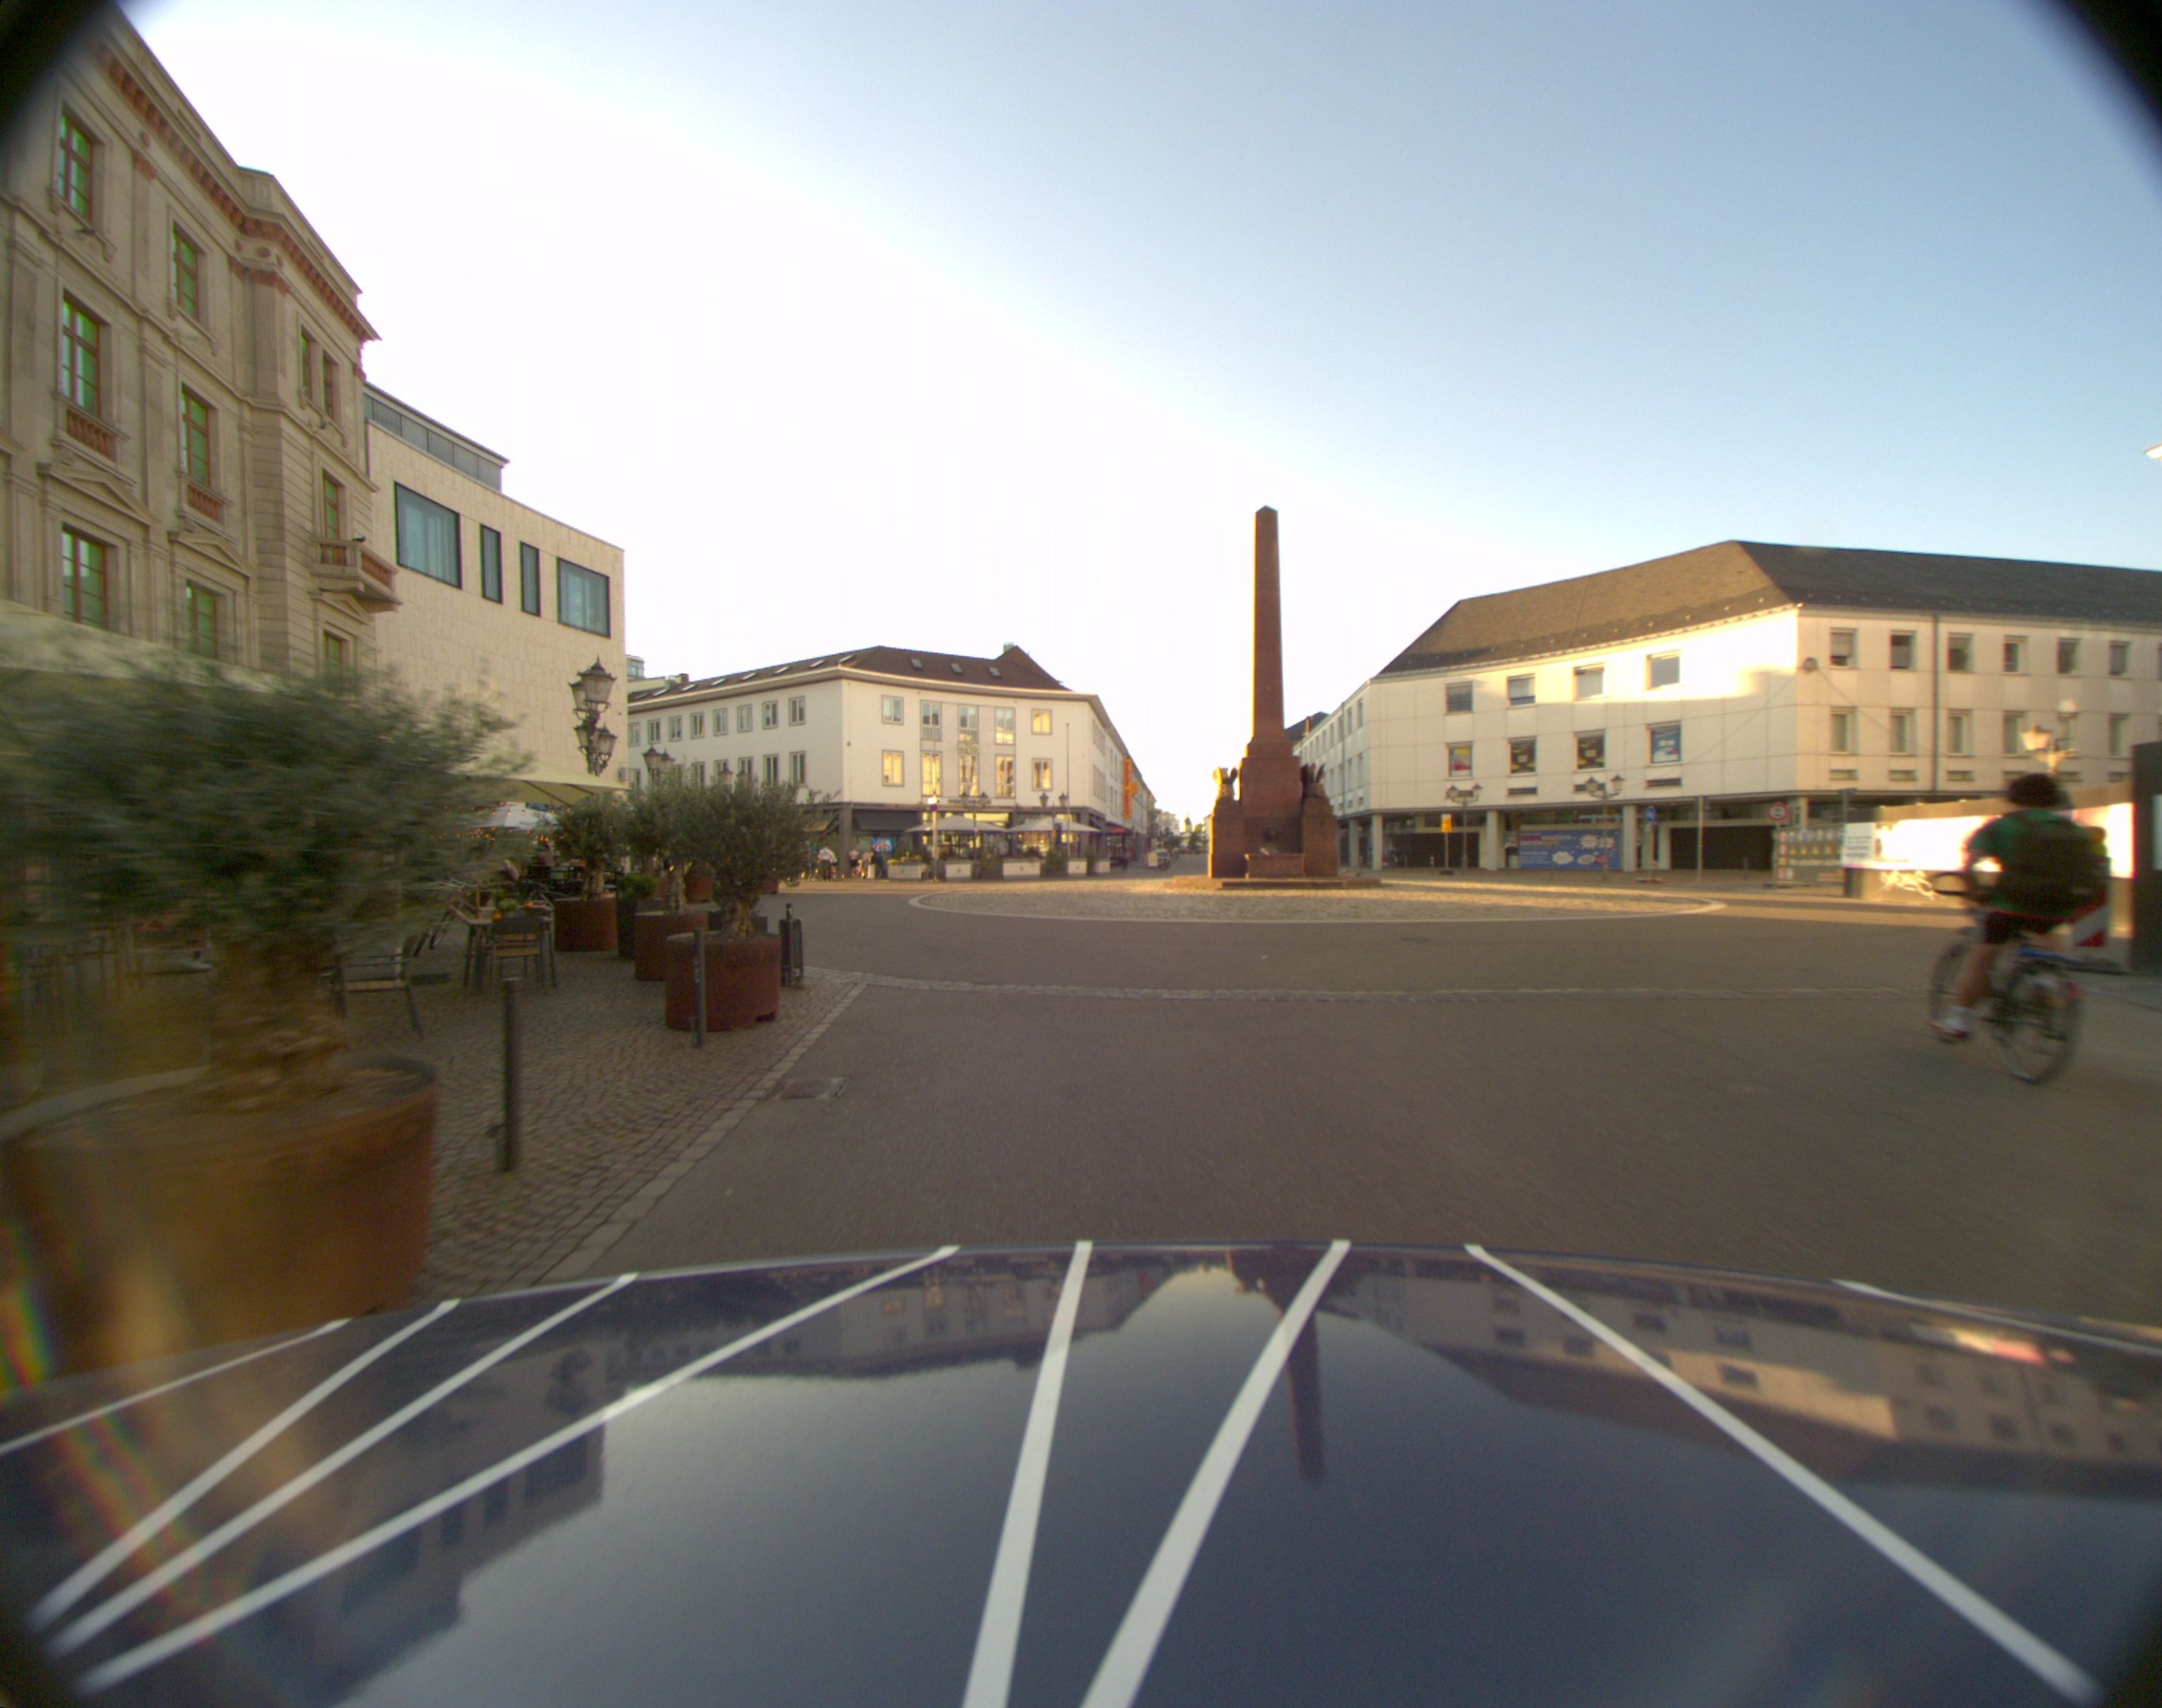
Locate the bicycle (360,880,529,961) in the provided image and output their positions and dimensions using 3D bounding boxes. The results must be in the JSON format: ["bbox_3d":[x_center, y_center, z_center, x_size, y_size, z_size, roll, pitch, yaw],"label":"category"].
[{"bbox_3d":[-9.820,0.981,11.809,0.605,1.121,1.910,0,-1,32],"label":"bicycle"}]

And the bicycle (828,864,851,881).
[{"bbox_3d":[-12.509,0.936,39.394,0.481,0.843,1.485,-1,1,10],"label":"bicycle"}]

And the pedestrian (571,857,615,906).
[{"bbox_3d":[-14.731,0.811,22.954,0.721,1.439,0.867,0,1,31],"label":"pedestrian"}]

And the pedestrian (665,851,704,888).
[{"bbox_3d":[-16.053,0.616,30.786,0.969,1.439,0.947,0,1,23],"label":"pedestrian"}]

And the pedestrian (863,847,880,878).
[{"bbox_3d":[-11.340,0.460,41.086,0.619,1.667,0.734,-1,1,9],"label":"pedestrian"}]

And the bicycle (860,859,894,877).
[{"bbox_3d":[-10.792,0.743,40.236,0.473,0.928,1.680,0,1,45],"label":"bicycle"}]

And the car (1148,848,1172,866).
[{"bbox_3d":[6.469,0.231,61.917,1.780,1.416,3.963,-1,1,7],"label":"car"}]

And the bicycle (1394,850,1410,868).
[{"bbox_3d":[21.130,0.289,50.088,0.480,1.149,1.950,-1,1,7],"label":"bicycle"}]

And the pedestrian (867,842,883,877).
[{"bbox_3d":[-10.888,0.280,40.117,0.508,1.808,0.719,-1,1,9],"label":"pedestrian"}]

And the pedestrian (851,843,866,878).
[{"bbox_3d":[-12.152,0.345,41.500,0.580,1.912,0.543,-1,1,9],"label":"pedestrian"}]

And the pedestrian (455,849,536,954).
[{"bbox_3d":[-9.168,0.714,11.910,0.748,1.579,0.716,0,1,25],"label":"pedestrian"}]

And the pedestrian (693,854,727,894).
[{"bbox_3d":[-13.833,0.730,28.329,0.721,1.439,0.867,0,1,31],"label":"pedestrian"}]

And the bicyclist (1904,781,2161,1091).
[{"bbox_3d":[5.693,0.416,4.553,0.796,1.593,1.233,0,1,36],"label":"bicyclist"}]

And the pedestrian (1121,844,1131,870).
[{"bbox_3d":[2.976,0.190,50.291,0.603,1.691,0.714,-1,1,2],"label":"pedestrian"}]

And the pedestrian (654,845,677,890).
[{"bbox_3d":[-16.533,0.528,30.248,0.711,1.737,0.715,-1,1,-34],"label":"pedestrian"}]

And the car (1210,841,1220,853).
[{"bbox_3d":[26.133,-1.381,147.807,1.780,2.214,4.331,-1,1,8],"label":"car"}]

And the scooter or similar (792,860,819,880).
[{"bbox_3d":[-14.197,0.833,39.178,0.486,1.005,1.207,0,1,38],"label":"scooter or similar"}]

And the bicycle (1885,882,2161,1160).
[{"bbox_3d":[5.698,0.831,4.559,0.796,1.210,2.238,0,1,36],"label":"bicycle"}]

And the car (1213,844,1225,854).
[{"bbox_3d":[23.453,-0.829,129.387,1.780,1.657,4.331,-1,1,8],"label":"car"}]

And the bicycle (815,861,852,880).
[{"bbox_3d":[-12.372,0.812,38.009,0.473,0.928,1.680,0,1,45],"label":"bicycle"}]

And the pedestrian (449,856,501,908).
[{"bbox_3d":[-17.317,0.773,21.726,0.773,1.439,0.854,0,1,22],"label":"pedestrian"}]

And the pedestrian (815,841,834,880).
[{"bbox_3d":[-12.765,0.319,37.831,0.643,1.917,0.629,0,1,31],"label":"pedestrian"}]

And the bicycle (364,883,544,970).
[{"bbox_3d":[-9.057,0.999,11.063,0.605,1.121,1.910,0,-1,32],"label":"bicycle"}]

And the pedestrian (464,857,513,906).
[{"bbox_3d":[-17.843,0.813,22.896,0.773,1.439,0.854,0,1,23],"label":"pedestrian"}]

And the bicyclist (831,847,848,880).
[{"bbox_3d":[-12.520,0.482,39.375,0.481,1.733,0.836,-1,1,10],"label":"bicyclist"}]

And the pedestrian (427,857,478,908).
[{"bbox_3d":[-18.158,0.816,21.955,0.773,1.439,0.854,0,1,23],"label":"pedestrian"}]
